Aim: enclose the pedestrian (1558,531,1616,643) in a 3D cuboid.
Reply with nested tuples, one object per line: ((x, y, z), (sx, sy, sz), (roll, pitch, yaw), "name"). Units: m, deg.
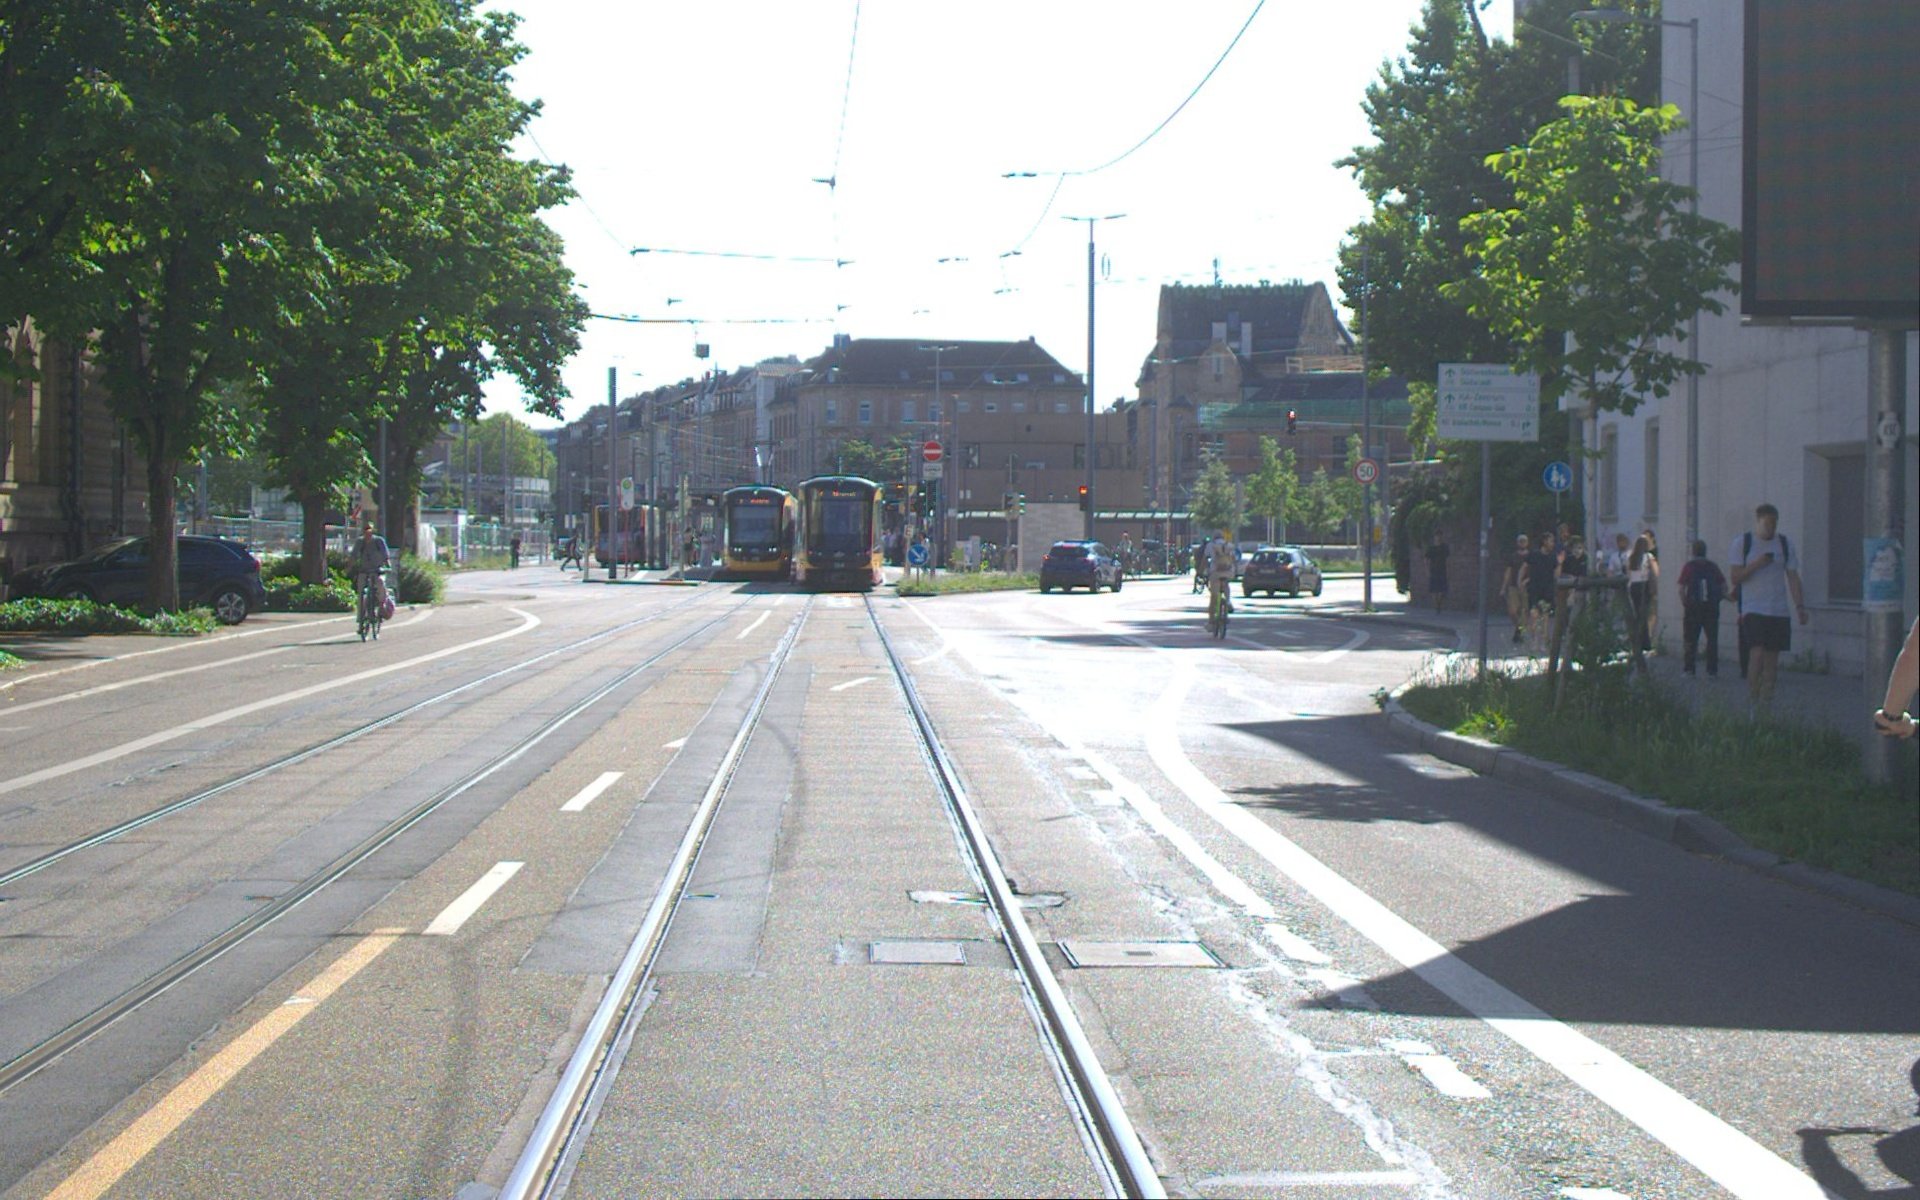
((10.222, -0.211, 56.074), (0.529, 1.768, 0.734), (-3, 1, 39), "pedestrian")

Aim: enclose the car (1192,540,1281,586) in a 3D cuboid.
((10.298, -1.388, 127.881), (1.705, 1.638, 3.705), (3, 2, 33), "car")

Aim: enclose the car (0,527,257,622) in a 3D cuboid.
((-14.406, -0.445, 59.496), (3.986, 1.544, 1.878), (1, 1, -29), "car")

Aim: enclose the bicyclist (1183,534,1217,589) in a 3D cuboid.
((7.555, -1.223, 108.054), (0.706, 1.694, 0.986), (3, 2, 23), "bicyclist")

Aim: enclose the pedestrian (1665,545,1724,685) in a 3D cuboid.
((8.404, 0.164, 39.349), (0.518, 1.595, 0.764), (0, 1, 1), "pedestrian")

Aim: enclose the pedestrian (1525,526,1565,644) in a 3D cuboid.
((9.592, -0.245, 56.384), (0.518, 1.896, 0.611), (-3, 1, 6), "pedestrian")

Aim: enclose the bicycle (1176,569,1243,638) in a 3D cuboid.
((4.194, 0.053, 57.671), (0.705, 1.101, 1.716), (3, 2, 18), "bicycle")

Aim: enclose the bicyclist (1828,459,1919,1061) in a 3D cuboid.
((3.060, 0.446, 10.050), (0.738, 1.680, 0.972), (2, 1, 0), "bicyclist")

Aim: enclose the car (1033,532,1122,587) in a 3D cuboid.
((3.633, -1.239, 105.391), (1.790, 1.599, 3.710), (2, 1, 17), "car")

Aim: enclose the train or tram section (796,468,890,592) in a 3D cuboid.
((-3.773, -2.230, 108.220), (2.742, 3.639, 13.788), (0, 1, -3), "train or tram section")

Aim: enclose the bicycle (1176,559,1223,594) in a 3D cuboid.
((7.540, -0.737, 108.087), (0.706, 1.051, 2.311), (3, 2, 23), "bicycle")

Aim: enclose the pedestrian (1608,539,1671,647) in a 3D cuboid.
((10.491, -0.117, 53.043), (0.829, 1.599, 0.893), (-4, 1, 13), "pedestrian")

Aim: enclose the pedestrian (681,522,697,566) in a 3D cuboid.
((-11.281, -2.335, 143.017), (0.626, 1.821, 0.662), (0, 1, -3), "pedestrian")

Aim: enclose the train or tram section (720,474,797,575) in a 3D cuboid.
((-7.638, -2.905, 131.662), (2.742, 3.639, 13.788), (0, 1, -3), "train or tram section")

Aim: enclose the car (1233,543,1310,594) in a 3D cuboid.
((9.685, -1.003, 106.734), (1.790, 1.506, 3.710), (2, 1, 14), "car")

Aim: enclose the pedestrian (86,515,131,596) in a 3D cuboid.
((-17.504, -0.921, 70.686), (0.700, 1.629, 0.759), (3, 1, -2), "pedestrian")

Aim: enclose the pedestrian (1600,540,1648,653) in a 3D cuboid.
((10.717, -0.060, 55.501), (0.610, 1.768, 0.652), (-4, 1, 14), "pedestrian")

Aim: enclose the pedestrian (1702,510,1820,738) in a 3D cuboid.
((6.629, 0.188, 28.485), (0.683, 1.843, 0.955), (-1, 1, -3), "pedestrian")

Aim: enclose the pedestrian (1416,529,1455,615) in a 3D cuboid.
((10.706, -0.636, 77.407), (0.637, 1.897, 1.134), (-2, 1, -1), "pedestrian")

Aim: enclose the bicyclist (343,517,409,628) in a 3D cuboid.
((-8.788, -0.417, 51.761), (0.686, 1.639, 1.237), (-1, 1, 2), "bicyclist")

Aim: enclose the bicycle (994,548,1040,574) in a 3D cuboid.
((2.451, -1.691, 148.039), (1.933, 1.099, 0.599), (0, 1, -4), "bicycle")

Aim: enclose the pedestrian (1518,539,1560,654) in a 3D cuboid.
((8.946, -0.061, 53.132), (0.495, 1.722, 0.816), (-4, 1, 12), "pedestrian")

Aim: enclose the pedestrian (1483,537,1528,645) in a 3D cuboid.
((8.980, -0.152, 56.567), (0.606, 1.741, 0.718), (-3, 1, 6), "pedestrian")

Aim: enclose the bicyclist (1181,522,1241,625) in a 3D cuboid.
((4.216, -0.450, 57.656), (0.705, 1.669, 1.100), (3, 2, 18), "bicyclist")

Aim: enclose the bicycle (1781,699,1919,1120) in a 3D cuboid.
((3.044, 0.897, 10.072), (0.738, 1.090, 2.111), (2, 1, 0), "bicycle")

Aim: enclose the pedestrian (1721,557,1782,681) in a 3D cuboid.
((9.023, 0.208, 39.209), (0.518, 1.399, 0.764), (0, 1, 1), "pedestrian")

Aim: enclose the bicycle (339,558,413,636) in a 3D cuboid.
((-8.781, -0.052, 51.779), (0.686, 1.120, 1.931), (-1, 1, 2), "bicycle")

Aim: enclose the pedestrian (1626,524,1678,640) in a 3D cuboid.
((10.924, -0.287, 54.284), (0.657, 1.796, 0.731), (-3, 1, 6), "pedestrian")

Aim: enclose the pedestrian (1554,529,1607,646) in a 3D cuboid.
((9.592, -0.198, 53.149), (0.648, 1.757, 0.955), (-4, 1, 13), "pedestrian")

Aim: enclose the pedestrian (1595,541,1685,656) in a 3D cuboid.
((9.812, -0.020, 49.625), (0.991, 1.635, 0.859), (1, -1, -45), "pedestrian")
